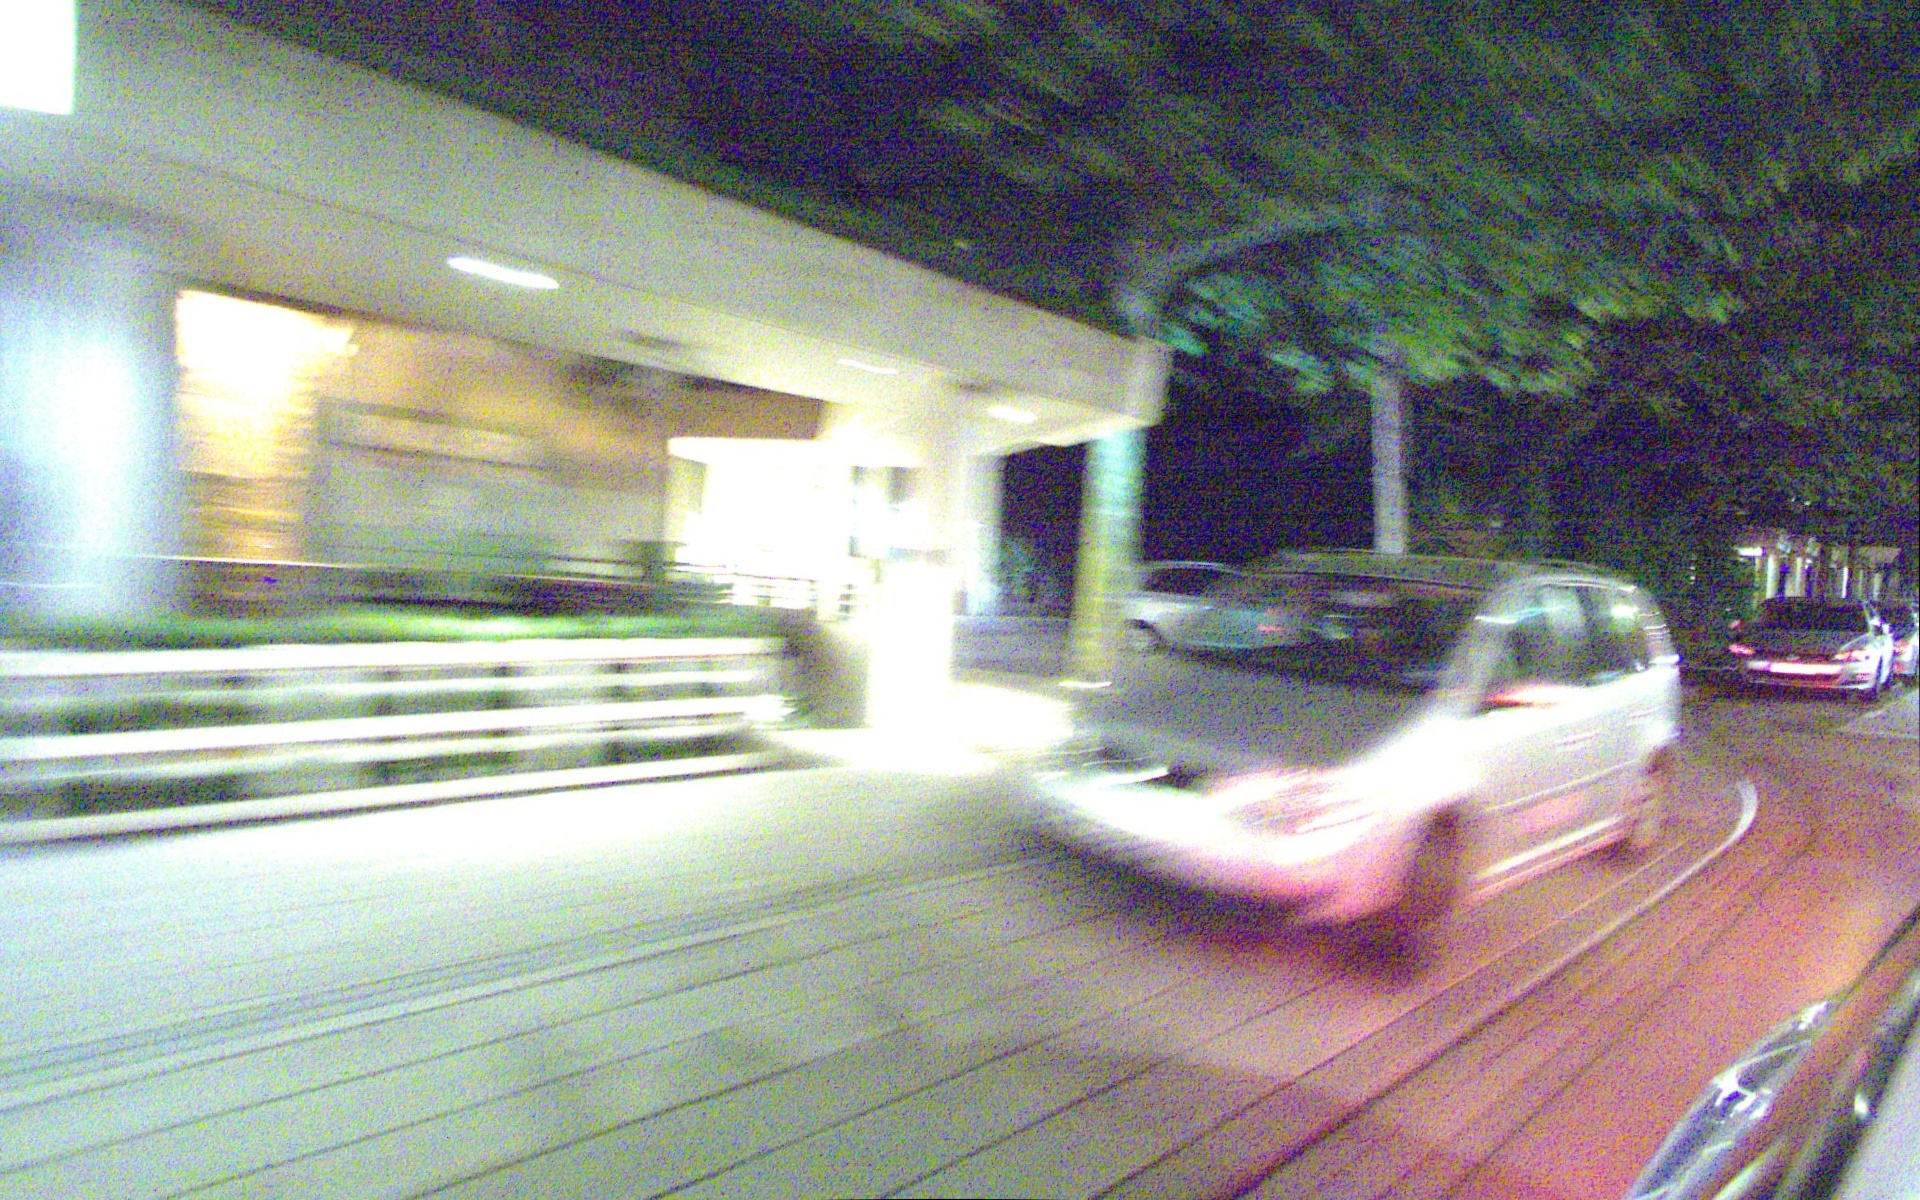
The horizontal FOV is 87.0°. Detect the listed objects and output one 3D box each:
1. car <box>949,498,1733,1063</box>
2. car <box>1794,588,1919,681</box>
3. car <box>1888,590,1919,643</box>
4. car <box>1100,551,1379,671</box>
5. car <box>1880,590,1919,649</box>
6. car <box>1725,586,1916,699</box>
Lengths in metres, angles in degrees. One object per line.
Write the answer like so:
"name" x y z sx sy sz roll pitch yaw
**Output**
"car" 2.183 0.470 5.068 4.304 1.661 1.791 0 4 -41
"car" 16.718 0.544 18.334 4.529 1.465 1.680 0 1 -40
"car" 28.689 0.468 29.845 3.712 1.485 1.640 0 1 -43
"car" 4.393 0.103 16.131 4.015 1.604 1.698 3 3 18
"car" 25.198 0.491 26.194 4.367 1.433 1.763 0 2 -44
"car" 13.165 0.541 15.394 4.218 1.455 1.782 0 1 -44
